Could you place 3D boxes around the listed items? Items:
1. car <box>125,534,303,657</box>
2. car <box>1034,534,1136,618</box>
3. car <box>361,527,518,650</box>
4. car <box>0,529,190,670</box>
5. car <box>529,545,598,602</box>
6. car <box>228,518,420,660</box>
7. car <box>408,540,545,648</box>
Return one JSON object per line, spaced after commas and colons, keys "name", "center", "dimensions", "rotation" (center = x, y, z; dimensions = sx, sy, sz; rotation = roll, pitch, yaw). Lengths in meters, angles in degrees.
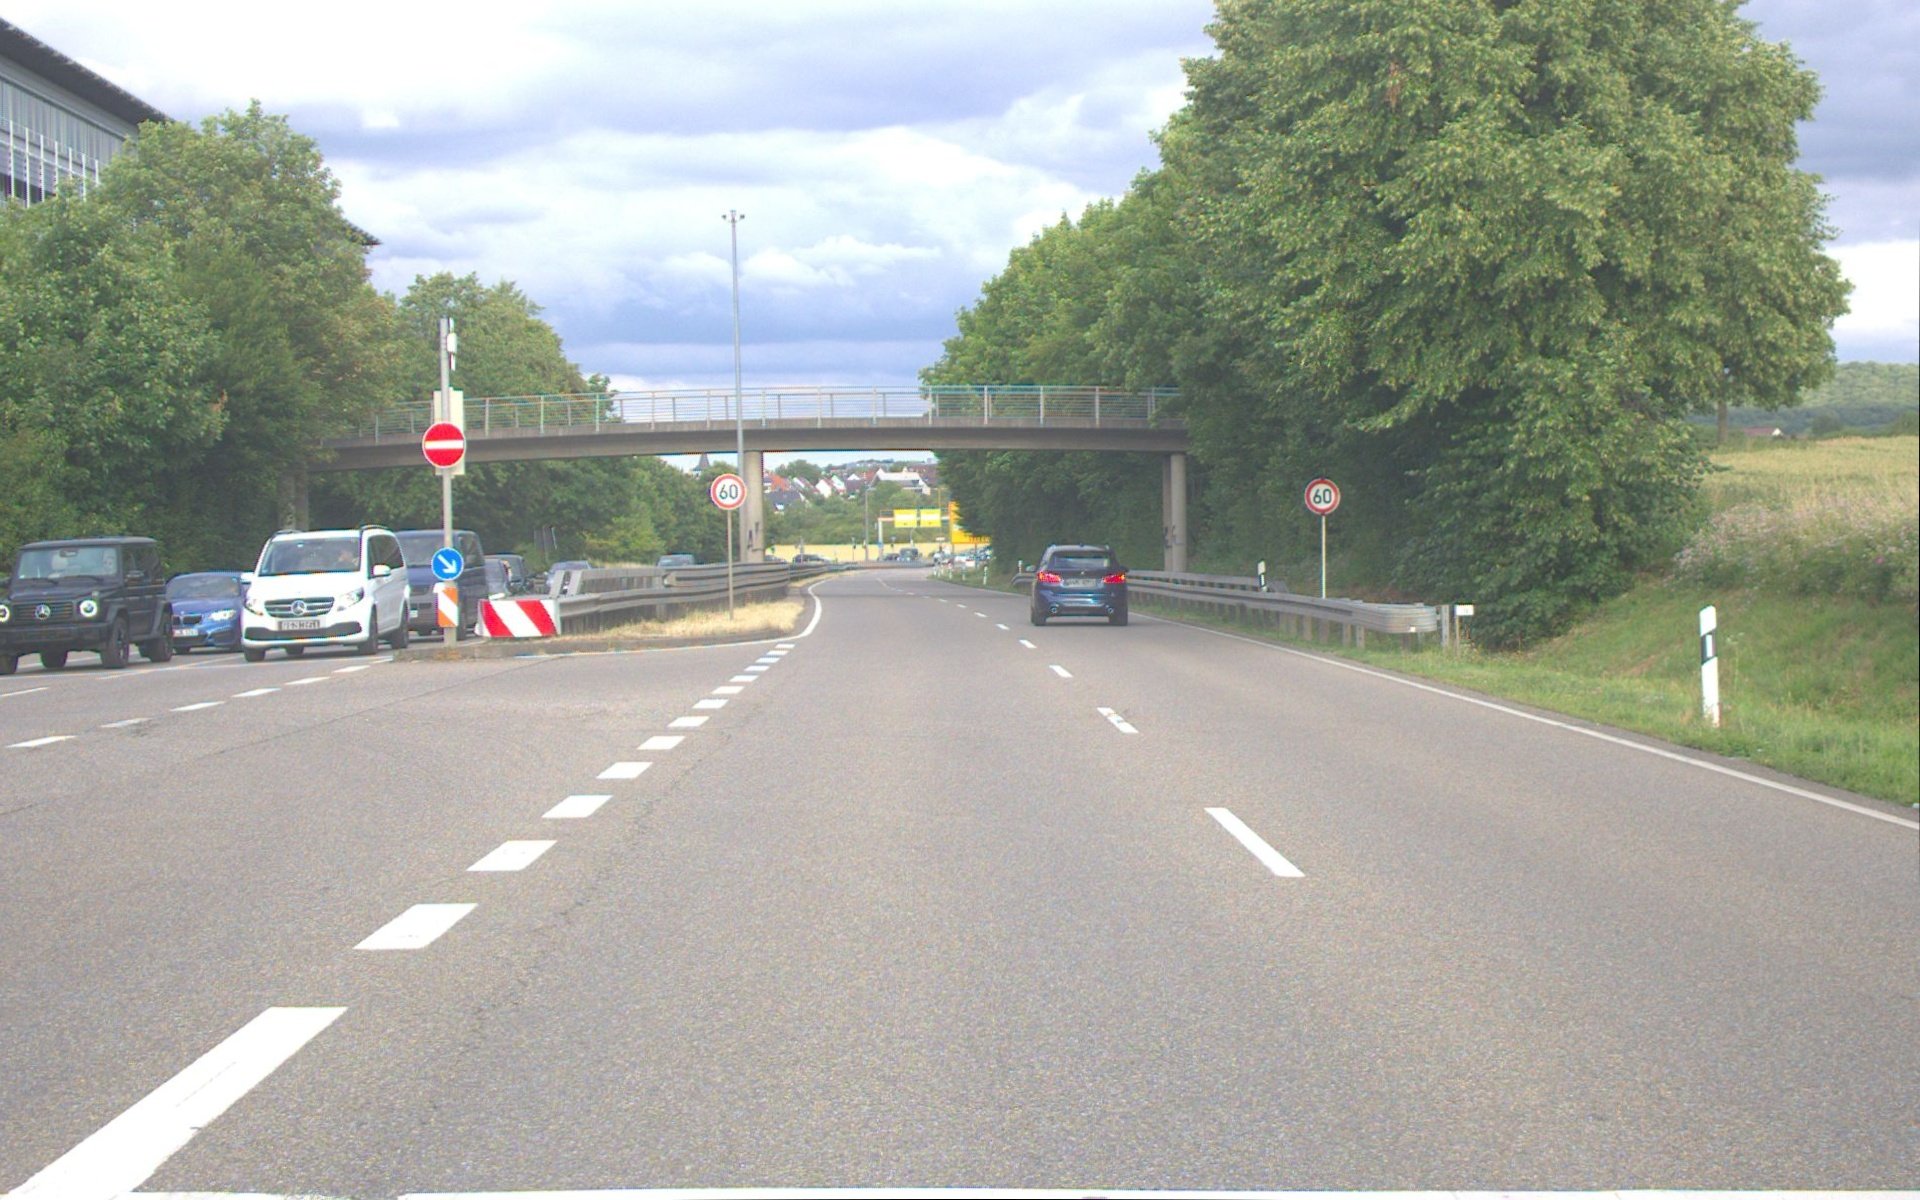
{"name": "car", "center": [-12.836, -0.108, 59.452], "dimensions": [2.083, 2.007, 5.217], "rotation": [1, 1, -2]}
{"name": "car", "center": [2.400, -0.467, 66.727], "dimensions": [1.880, 1.547, 4.000], "rotation": [1, 1, 1]}
{"name": "car", "center": [-8.993, -0.217, 59.802], "dimensions": [2.083, 2.007, 5.217], "rotation": [1, 1, -2]}
{"name": "car", "center": [-13.196, -0.036, 51.951], "dimensions": [2.083, 2.007, 5.217], "rotation": [1, 1, -2]}
{"name": "car", "center": [-14.454, -0.985, 125.555], "dimensions": [2.083, 2.007, 5.217], "rotation": [1, 1, -2]}
{"name": "car", "center": [-9.562, -0.189, 52.065], "dimensions": [2.083, 2.007, 5.217], "rotation": [1, 1, -2]}
{"name": "car", "center": [-9.422, -0.135, 67.369], "dimensions": [2.083, 2.007, 5.217], "rotation": [1, 1, -2]}
